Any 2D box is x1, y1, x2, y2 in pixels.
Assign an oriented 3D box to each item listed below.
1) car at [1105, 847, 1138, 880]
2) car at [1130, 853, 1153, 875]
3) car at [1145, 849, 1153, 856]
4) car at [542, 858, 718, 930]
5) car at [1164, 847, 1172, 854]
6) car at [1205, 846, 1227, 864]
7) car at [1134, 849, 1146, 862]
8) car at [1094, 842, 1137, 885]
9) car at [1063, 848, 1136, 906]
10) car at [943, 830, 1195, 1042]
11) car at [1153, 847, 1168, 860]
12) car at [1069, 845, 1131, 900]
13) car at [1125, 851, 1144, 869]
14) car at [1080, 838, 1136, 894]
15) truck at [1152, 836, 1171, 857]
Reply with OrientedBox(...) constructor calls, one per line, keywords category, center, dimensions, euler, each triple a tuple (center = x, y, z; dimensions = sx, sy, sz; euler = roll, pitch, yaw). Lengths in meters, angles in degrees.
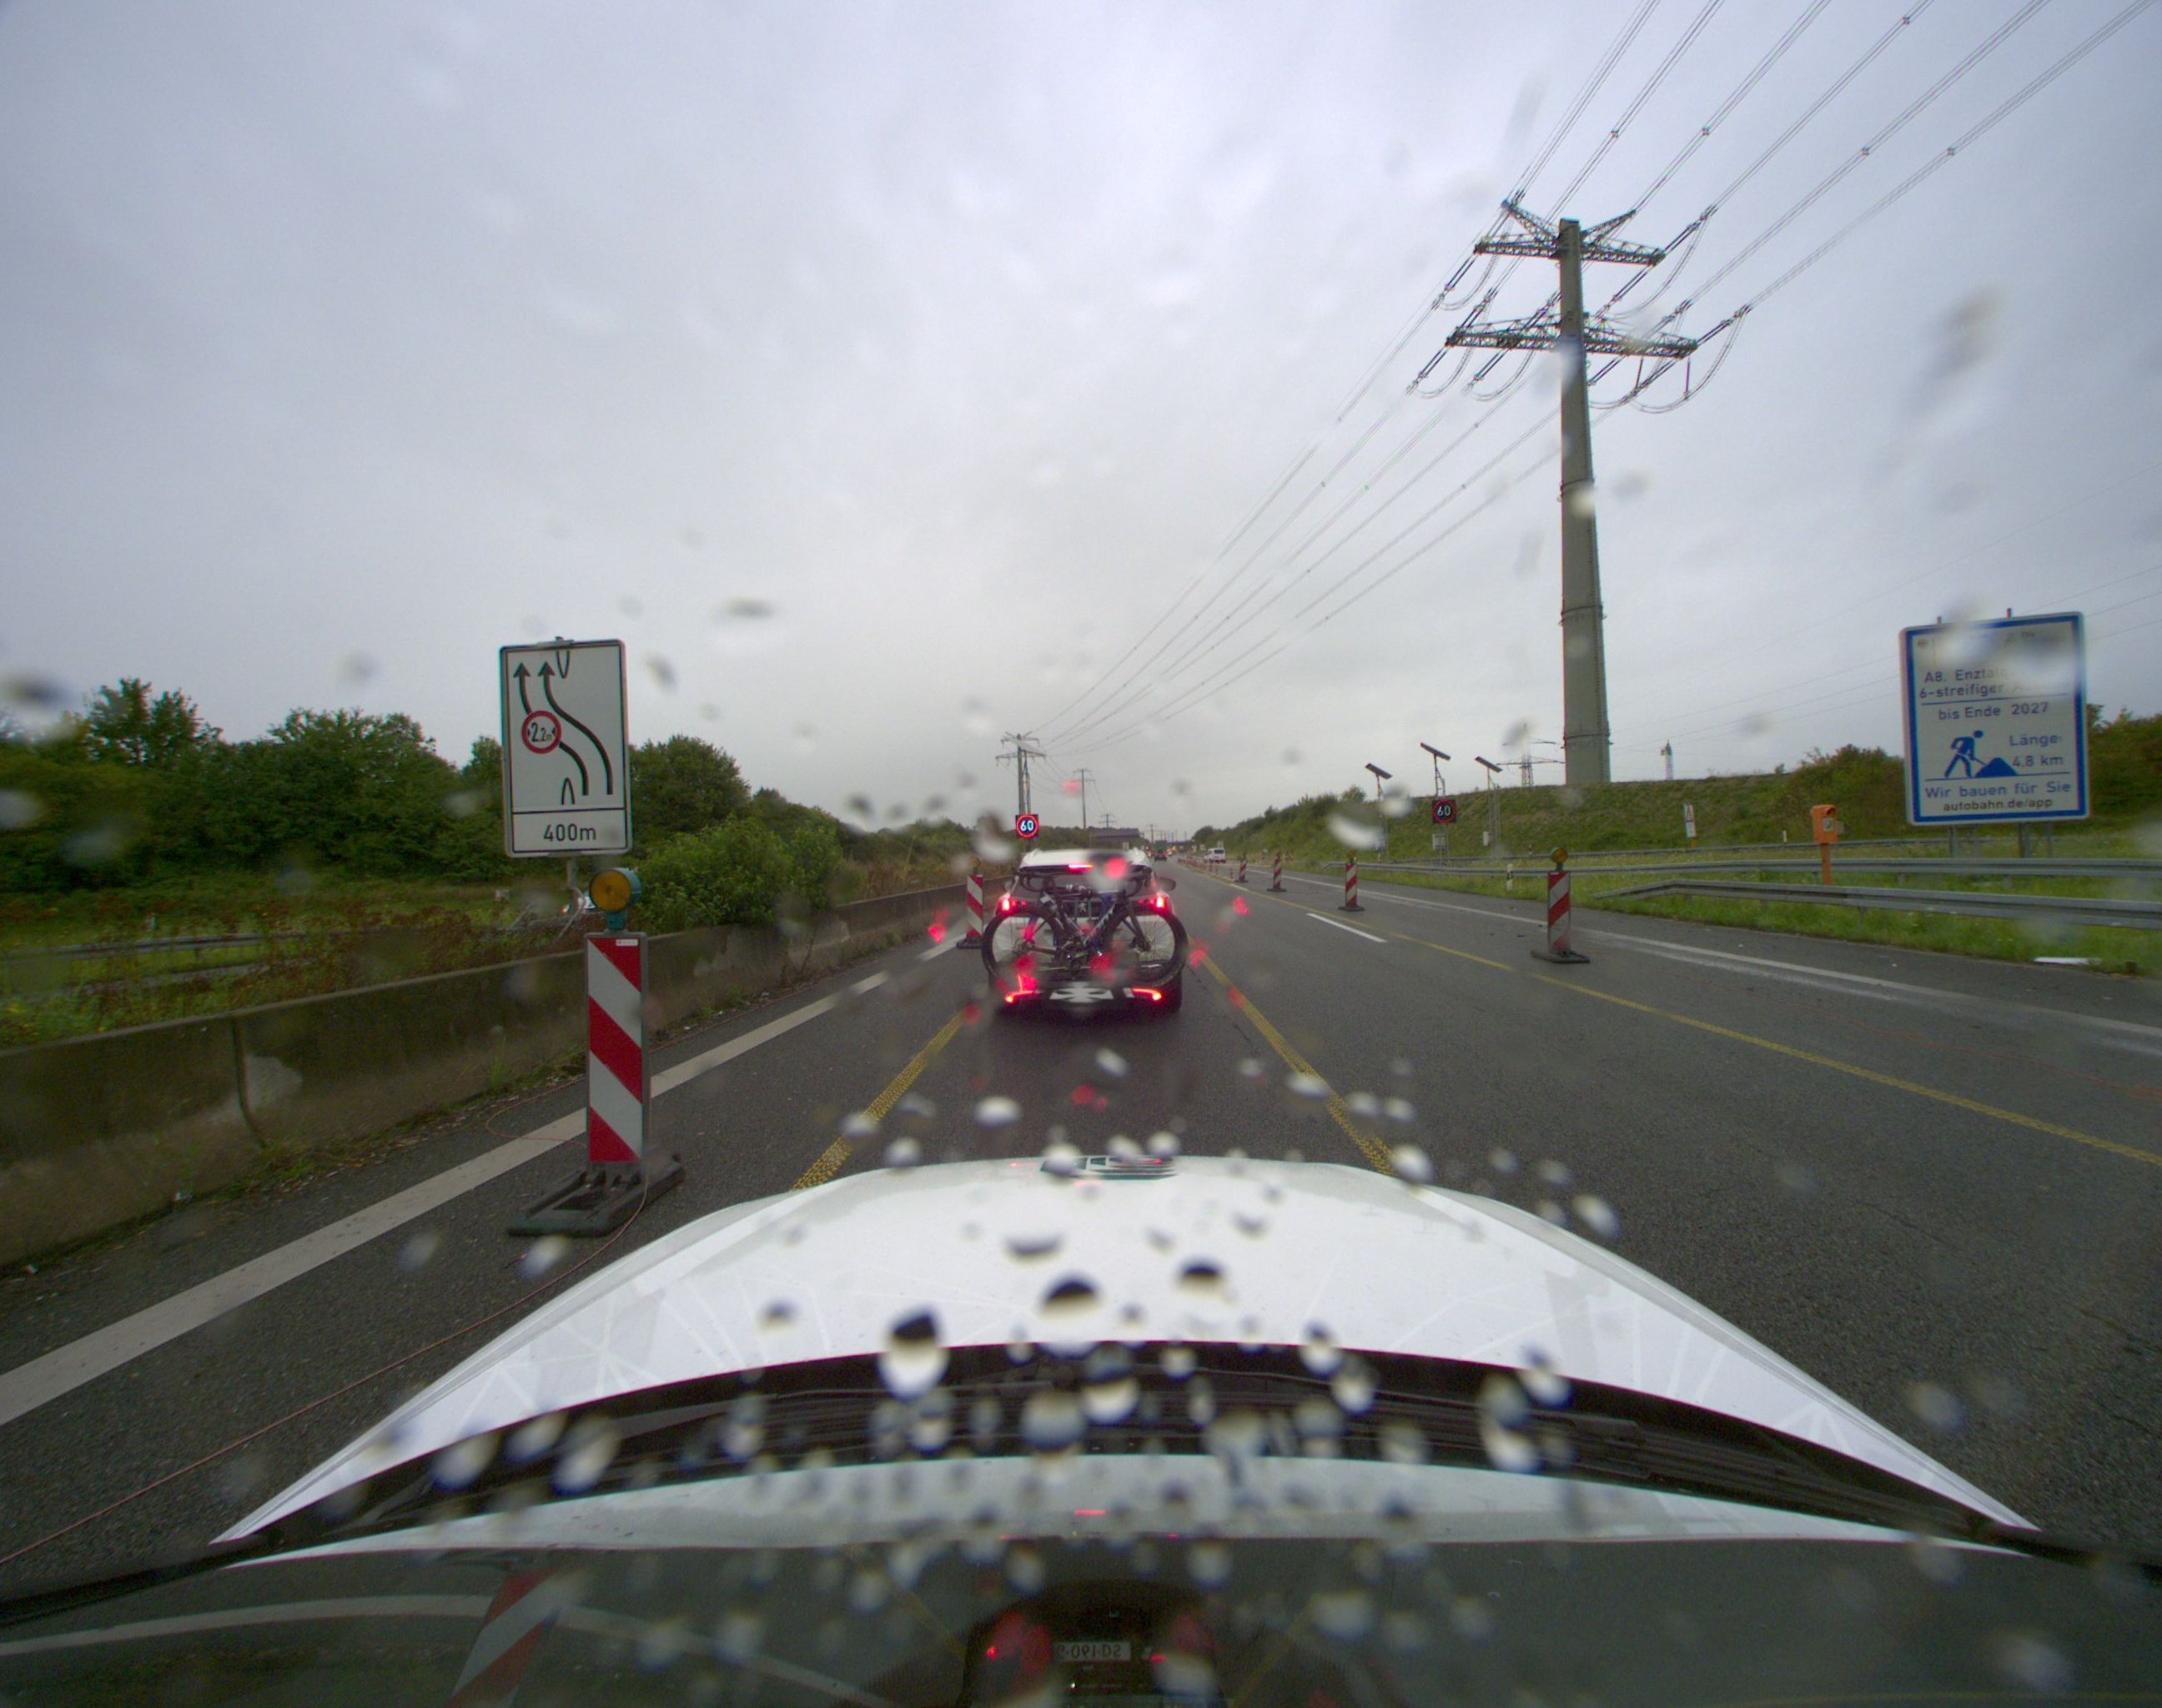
OrientedBox(category="car", center=(2.524, 0.595, 51.915), dimensions=(1.986, 2.014, 4.001), euler=(0, -1, 2))
OrientedBox(category="car", center=(6.034, 1.042, 82.198), dimensions=(1.987, 2.014, 3.999), euler=(-3, -2, 1))
OrientedBox(category="car", center=(18.207, -0.406, 219.216), dimensions=(1.986, 1.735, 3.784), euler=(-2, 0, 2))
OrientedBox(category="car", center=(-11.693, 0.958, 21.594), dimensions=(1.861, 1.543, 4.748), euler=(-3, 0, 1))
OrientedBox(category="car", center=(24.793, -0.903, 232.916), dimensions=(1.986, 2.013, 4.002), euler=(-1, 0, 2))
OrientedBox(category="car", center=(16.311, 0.070, 98.294), dimensions=(1.986, 2.013, 4.002), euler=(-3, 0, 2))
OrientedBox(category="car", center=(9.247, 0.179, 127.097), dimensions=(1.645, 2.013, 4.006), euler=(-1, 0, 6))
OrientedBox(category="car", center=(1.748, 0.437, 41.306), dimensions=(1.986, 2.013, 4.002), euler=(-2, 0, 2))
OrientedBox(category="car", center=(0.563, 0.628, 24.443), dimensions=(1.986, 1.584, 4.001), euler=(-1, 0, 1))
OrientedBox(category="car", center=(0.061, 0.633, 8.563), dimensions=(1.920, 1.610, 4.600), euler=(-1, 0, 4))
OrientedBox(category="car", center=(12.278, -0.050, 125.850), dimensions=(1.986, 2.014, 4.001), euler=(0, -1, 2))
OrientedBox(category="car", center=(0.737, 0.601, 29.153), dimensions=(1.985, 1.760, 4.004), euler=(-3, 0, 3))
OrientedBox(category="car", center=(6.310, 0.692, 96.307), dimensions=(1.986, 2.014, 4.001), euler=(0, -1, 2))
OrientedBox(category="car", center=(1.076, 0.437, 32.620), dimensions=(1.986, 2.013, 4.002), euler=(-3, 0, 2))
OrientedBox(category="truck", center=(17.353, -1.667, 177.130), dimensions=(3.715, 3.821, 11.884), euler=(-1, 3, 4))
